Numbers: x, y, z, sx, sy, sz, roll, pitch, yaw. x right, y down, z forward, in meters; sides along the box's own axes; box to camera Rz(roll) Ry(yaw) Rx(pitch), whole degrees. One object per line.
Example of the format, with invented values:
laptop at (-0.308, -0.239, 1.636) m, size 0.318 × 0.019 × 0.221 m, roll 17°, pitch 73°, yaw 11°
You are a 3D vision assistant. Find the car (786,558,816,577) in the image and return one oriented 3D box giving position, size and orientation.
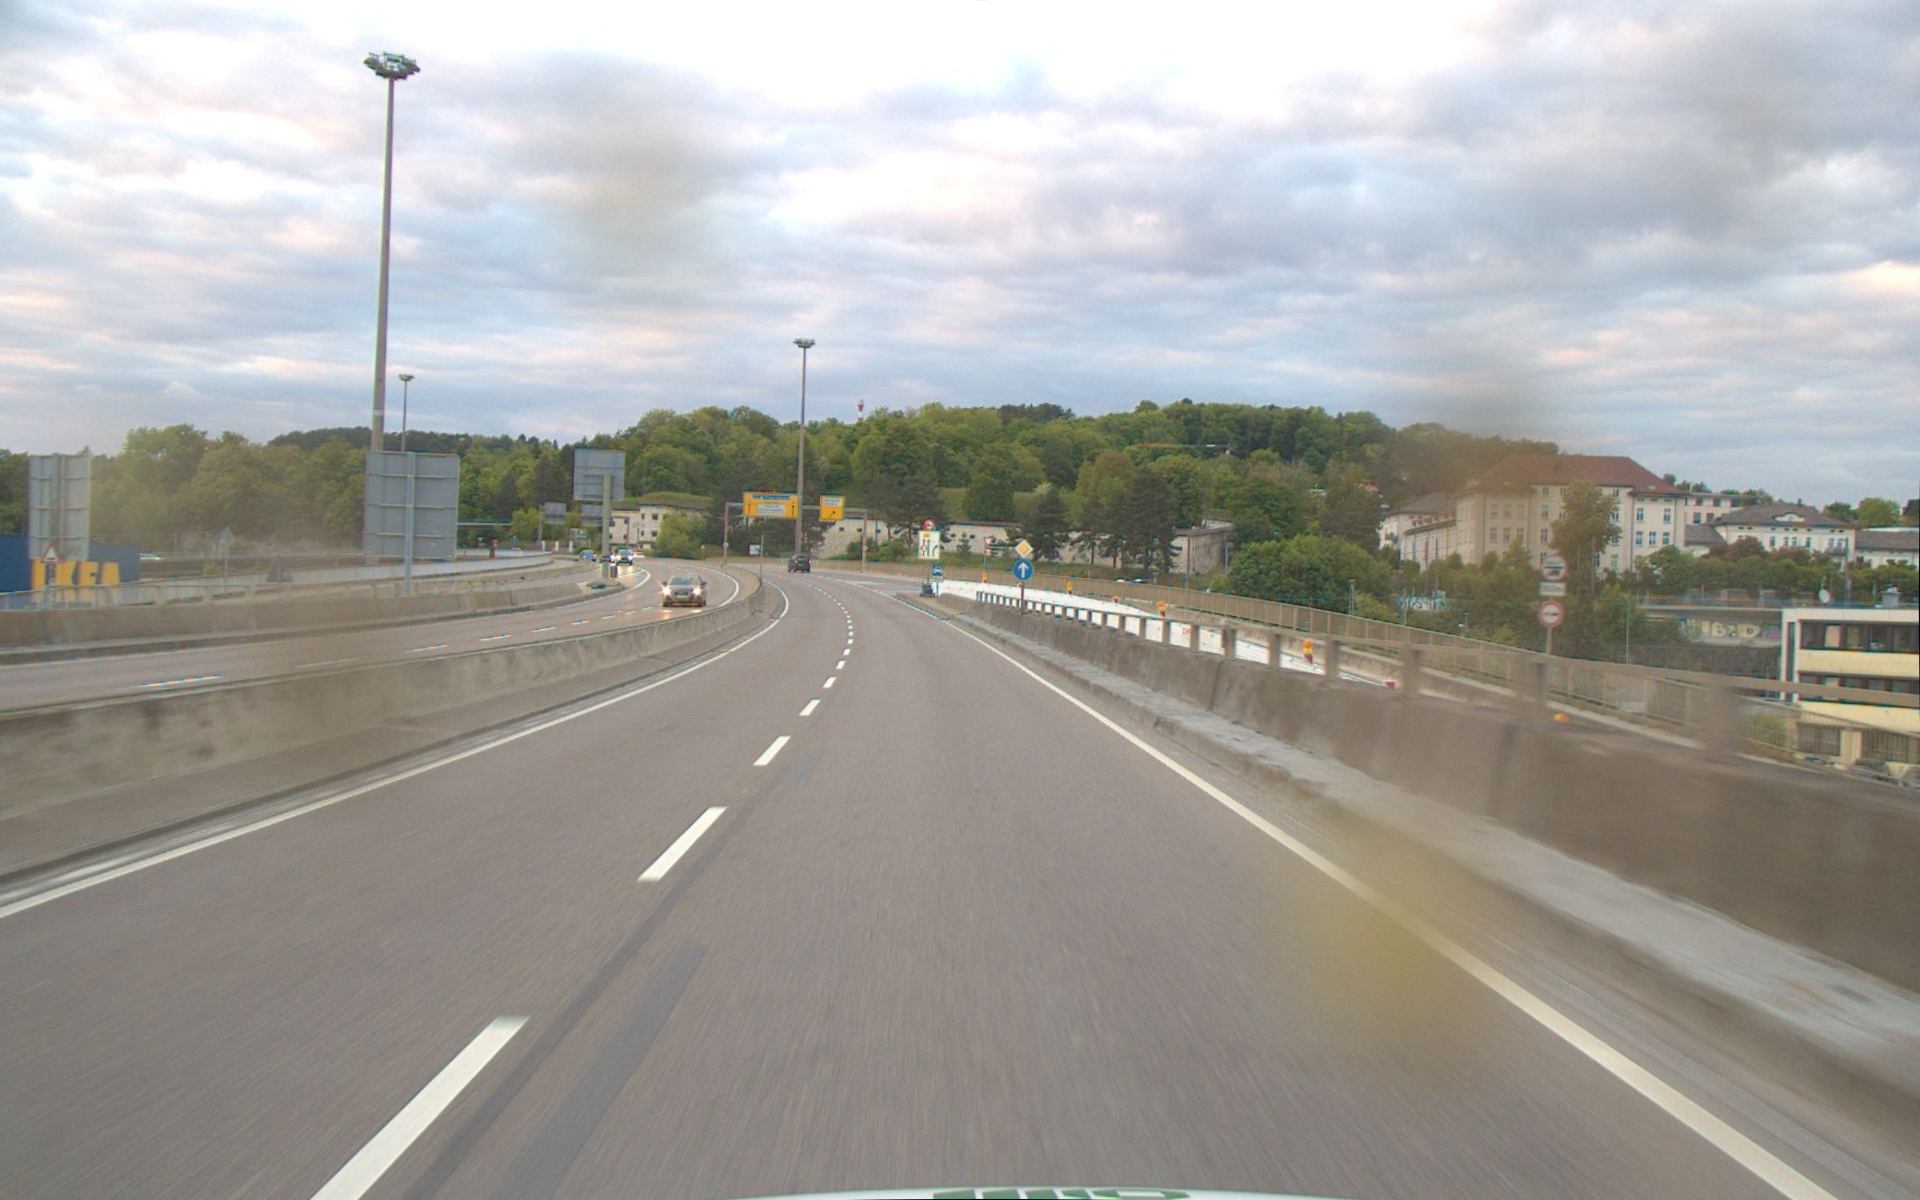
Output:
car at (-16.951, -3.472, 176.211) m, size 2.268 × 1.794 × 4.242 m, roll 2°, pitch 1°, yaw -17°

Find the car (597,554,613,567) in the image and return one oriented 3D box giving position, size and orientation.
car at (-44.527, -4.985, 207.615) m, size 1.767 × 1.512 × 3.825 m, roll 1°, pitch 0°, yaw -15°

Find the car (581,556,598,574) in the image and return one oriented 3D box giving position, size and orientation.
car at (-50.605, -4.807, 225.990) m, size 1.961 × 2.047 × 3.986 m, roll 7°, pitch 1°, yaw -14°

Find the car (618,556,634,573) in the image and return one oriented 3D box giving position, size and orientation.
car at (-38.057, -4.013, 188.257) m, size 1.608 × 1.747 × 3.987 m, roll -4°, pitch 1°, yaw -12°

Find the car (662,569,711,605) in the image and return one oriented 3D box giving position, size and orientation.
car at (-12.065, -0.548, 73.145) m, size 1.793 × 1.506 × 4.283 m, roll 1°, pitch 0°, yaw -5°
